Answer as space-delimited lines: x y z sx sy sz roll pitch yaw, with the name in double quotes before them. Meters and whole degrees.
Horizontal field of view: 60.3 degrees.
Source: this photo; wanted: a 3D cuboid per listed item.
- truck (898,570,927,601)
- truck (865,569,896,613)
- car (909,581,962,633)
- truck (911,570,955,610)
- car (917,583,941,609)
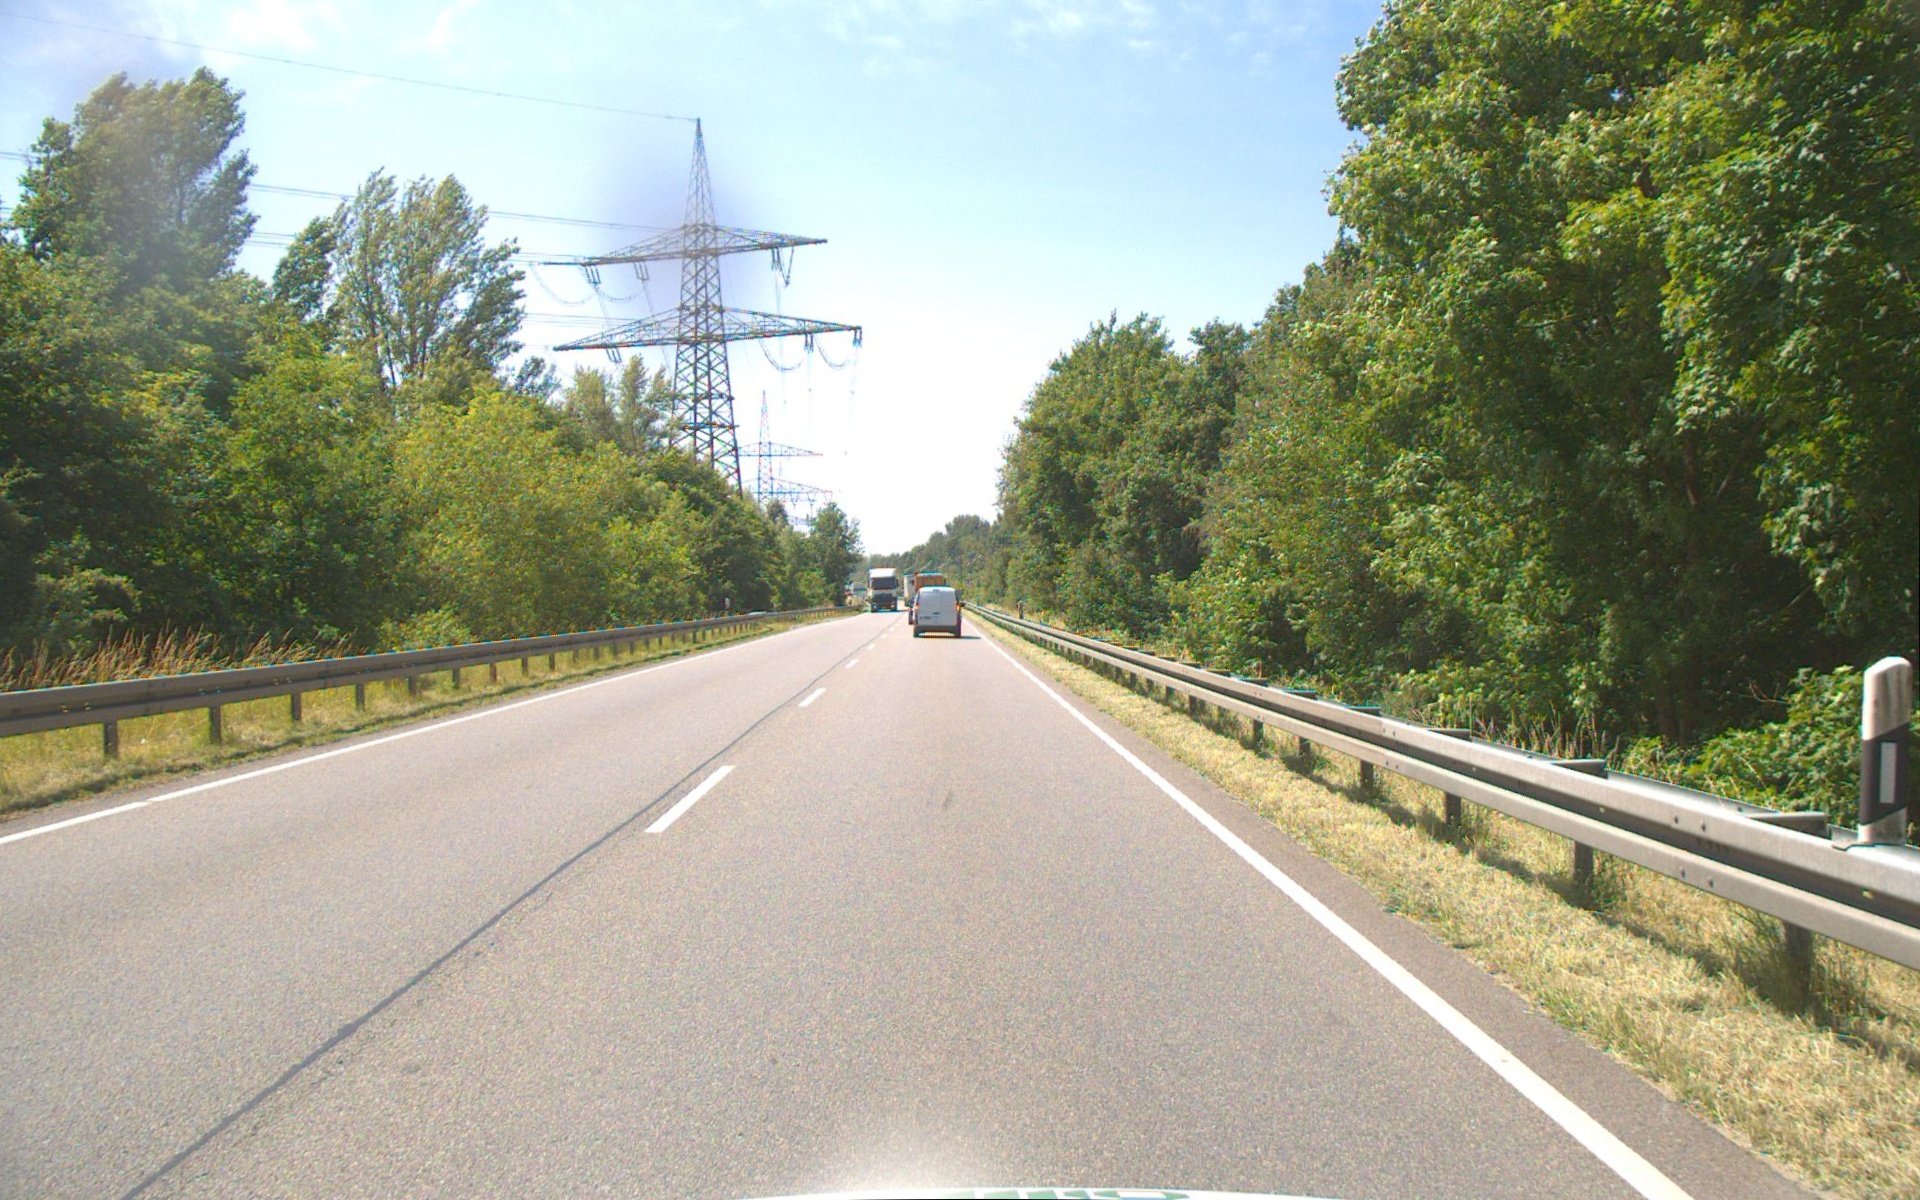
"truck" -6.349 -1.978 220.244 3.335 3.922 16.808 1 1 -3
"truck" -7.556 -0.817 157.002 2.707 4.069 5.905 1 0 -1
"car" -0.897 0.237 60.250 1.837 1.772 3.999 1 1 -1
"truck" -2.423 -0.983 144.361 3.231 3.227 14.396 1 1 -3
"car" -2.501 -0.363 132.934 1.728 2.049 3.997 0 0 -3
